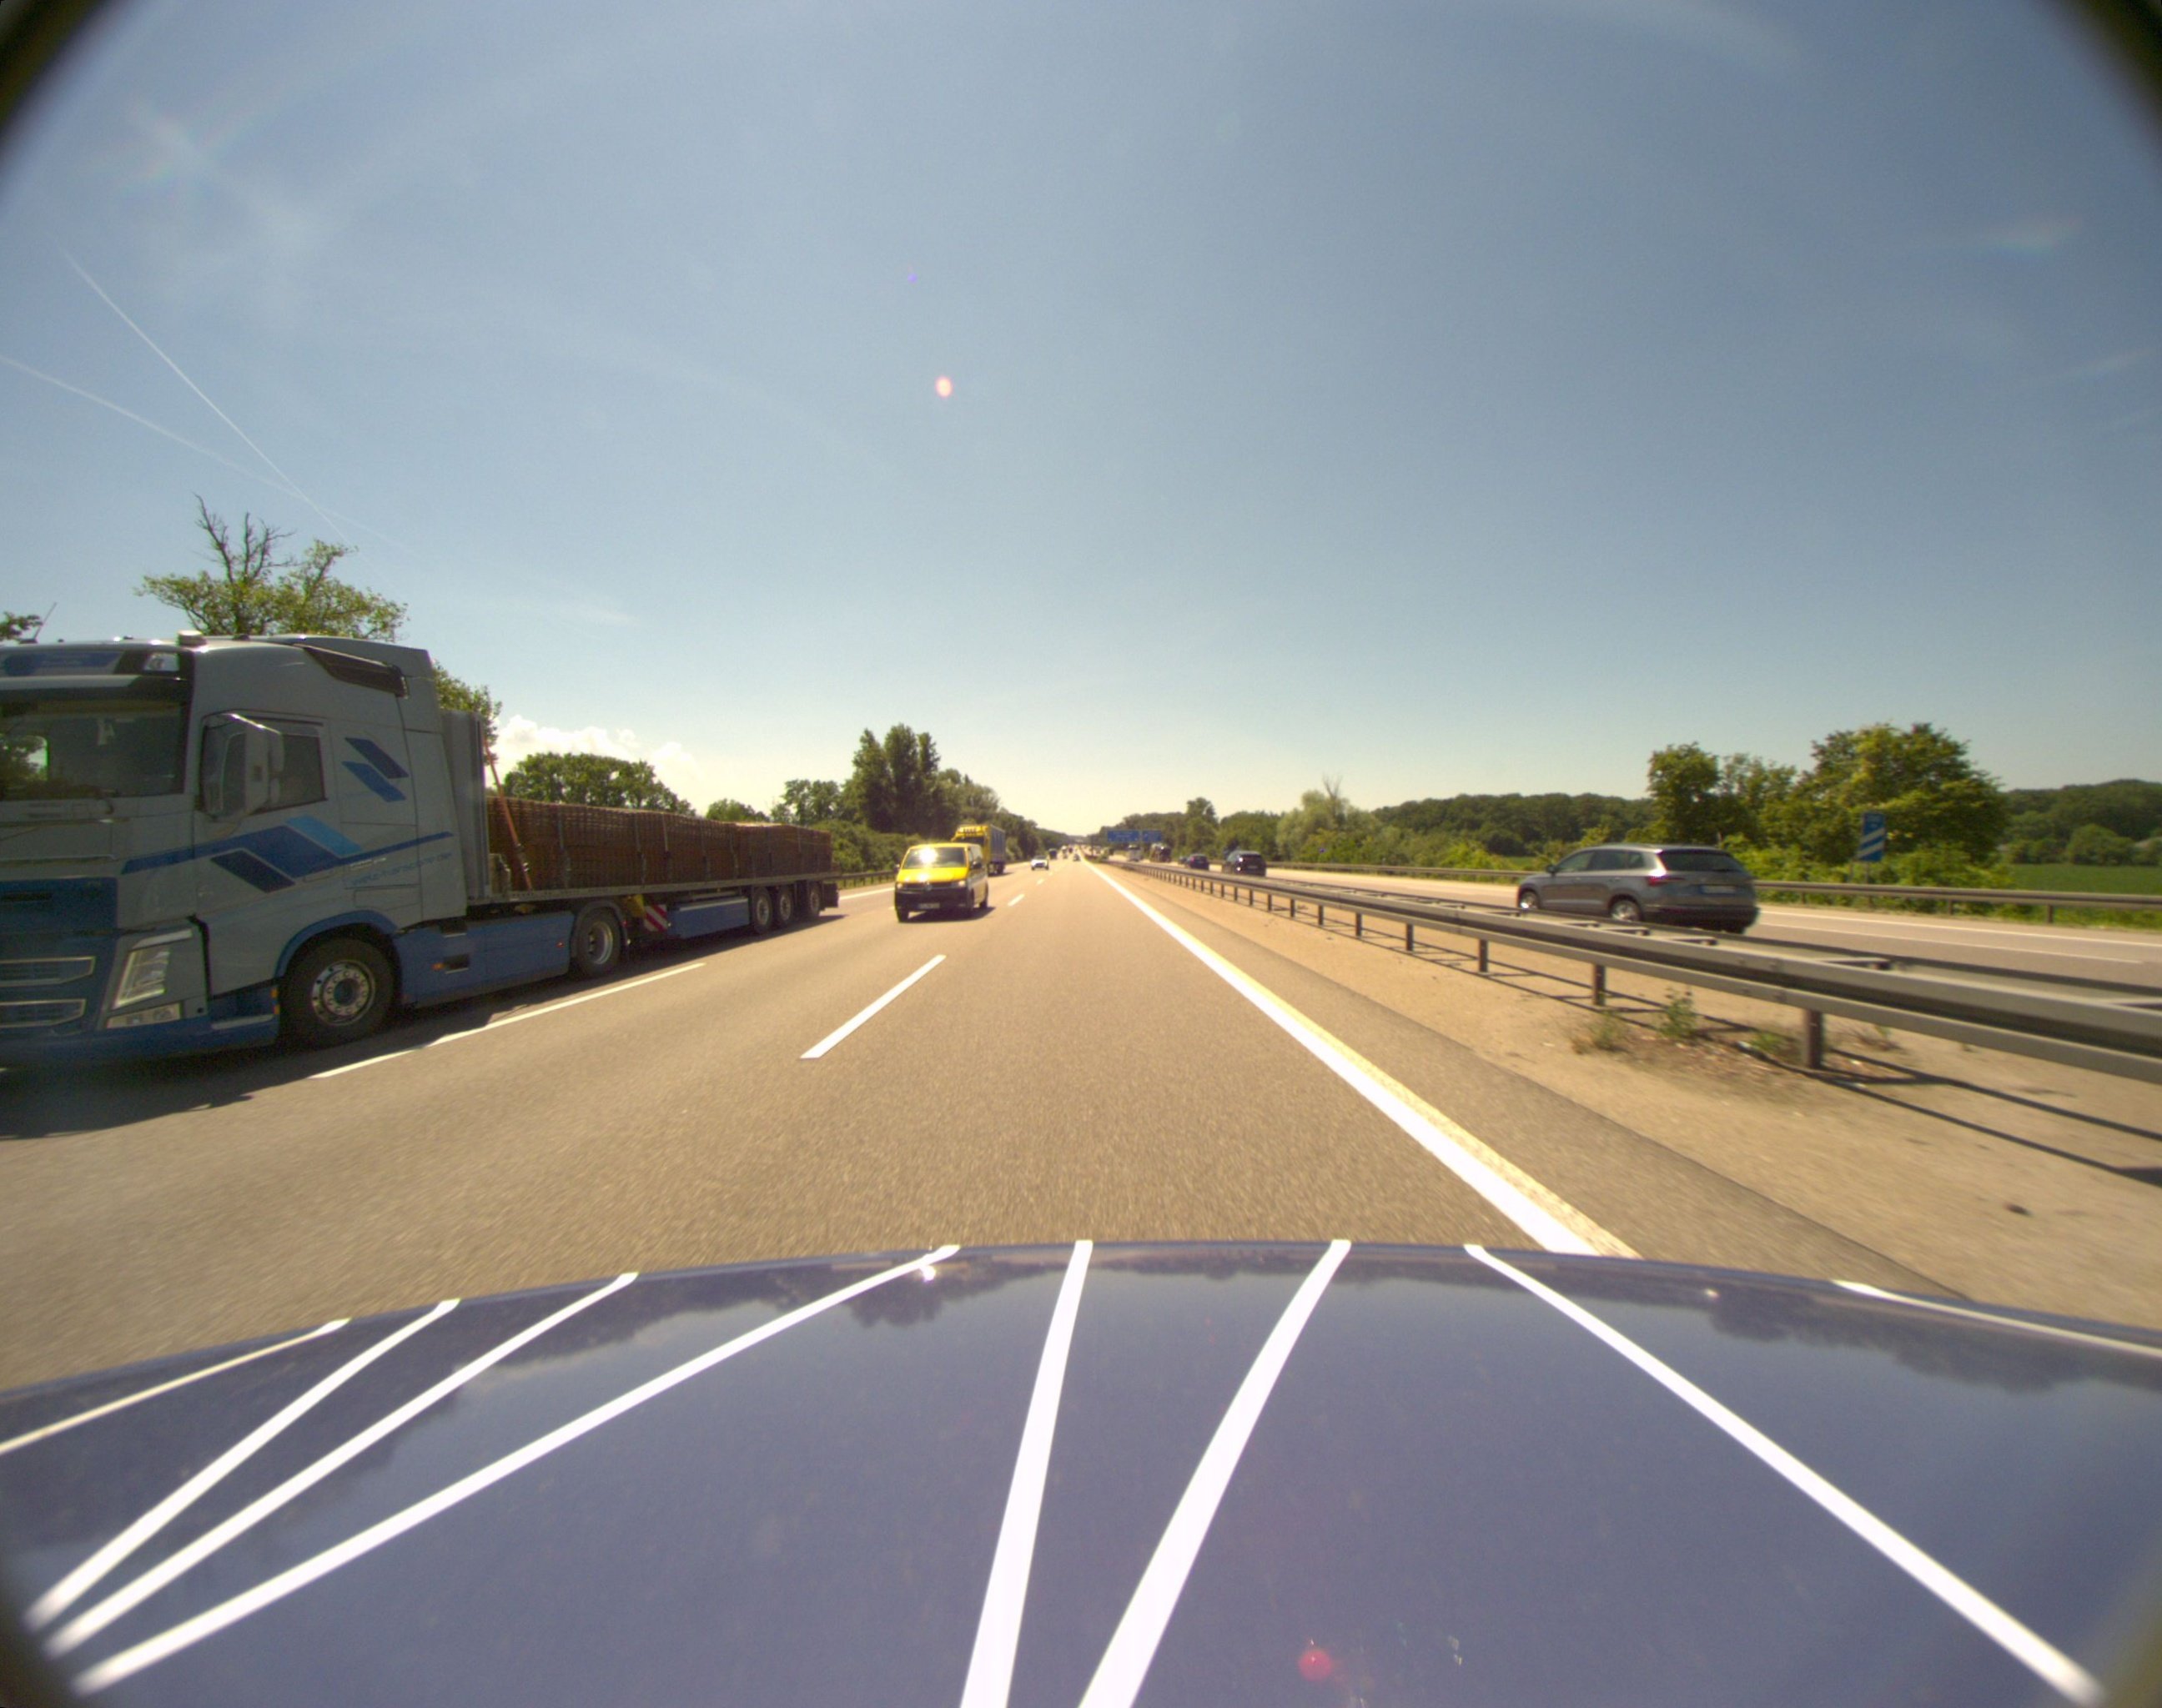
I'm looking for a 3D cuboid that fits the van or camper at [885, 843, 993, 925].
[{"bbox_3d":[-3.692,0.710,20.756,1.999,1.898,4.970,-2,0,-1],"label":"van or camper"}]

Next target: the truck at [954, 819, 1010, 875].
[{"bbox_3d":[-8.351,-0.652,66.532,2.852,4.233,16.787,-1,1,-1],"label":"truck"}]

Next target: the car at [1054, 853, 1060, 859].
[{"bbox_3d":[-8.149,0.603,255.407,1.999,2.002,3.999,0,0,-2],"label":"car"}]

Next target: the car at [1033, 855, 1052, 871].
[{"bbox_3d":[-4.133,0.953,82.171,1.845,1.565,3.999,-2,1,0],"label":"car"}]

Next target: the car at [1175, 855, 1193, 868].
[{"bbox_3d":[15.877,1.160,117.400,1.999,1.861,4.580,2,0,-2],"label":"car"}]

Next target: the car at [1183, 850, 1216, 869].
[{"bbox_3d":[9.979,0.431,64.307,1.999,1.595,4.599,0,0,0],"label":"car"}]

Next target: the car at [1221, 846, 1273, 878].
[{"bbox_3d":[9.359,0.422,43.267,1.999,1.680,4.407,0,0,0],"label":"car"}]

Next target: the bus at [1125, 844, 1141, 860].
[{"bbox_3d":[12.084,-0.514,178.730,2.701,3.563,12.792,1,0,0],"label":"bus"}]

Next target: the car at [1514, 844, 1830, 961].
[{"bbox_3d":[9.774,0.685,13.150,1.999,1.680,4.407,1,0,0],"label":"car"}]

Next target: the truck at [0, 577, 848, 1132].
[{"bbox_3d":[-8.232,-0.054,13.735,2.977,3.934,16.609,-2,1,-1],"label":"truck"}]
